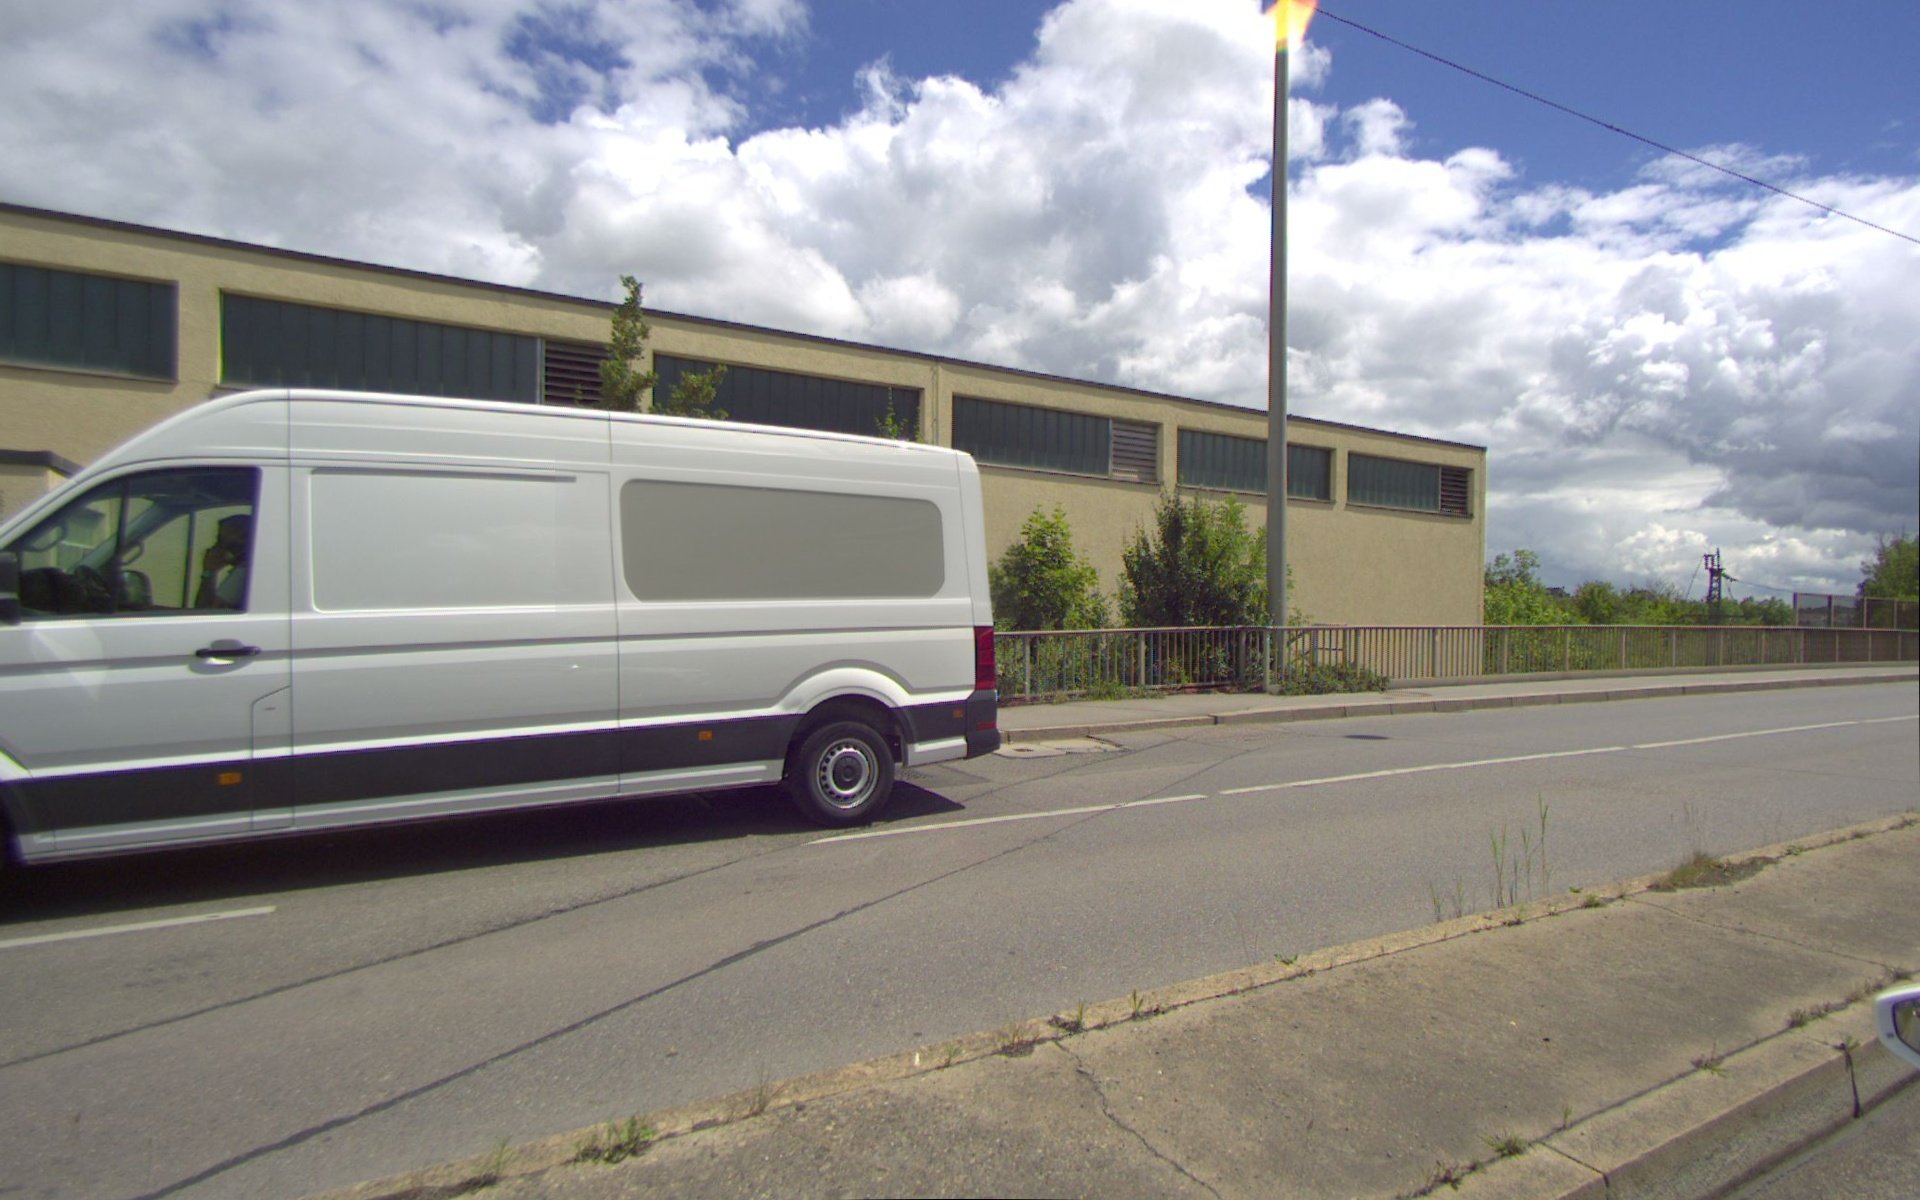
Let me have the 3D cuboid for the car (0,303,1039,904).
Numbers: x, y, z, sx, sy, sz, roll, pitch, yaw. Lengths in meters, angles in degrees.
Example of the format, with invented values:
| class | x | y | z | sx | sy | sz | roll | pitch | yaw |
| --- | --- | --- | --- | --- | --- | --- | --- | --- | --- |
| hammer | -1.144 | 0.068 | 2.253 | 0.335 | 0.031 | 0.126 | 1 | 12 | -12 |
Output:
| class | x | y | z | sx | sy | sz | roll | pitch | yaw |
| --- | --- | --- | --- | --- | --- | --- | --- | --- | --- |
| car | -2.852 | 0.063 | 6.315 | 6.741 | 2.605 | 2.057 | 1 | -1 | -30 |
